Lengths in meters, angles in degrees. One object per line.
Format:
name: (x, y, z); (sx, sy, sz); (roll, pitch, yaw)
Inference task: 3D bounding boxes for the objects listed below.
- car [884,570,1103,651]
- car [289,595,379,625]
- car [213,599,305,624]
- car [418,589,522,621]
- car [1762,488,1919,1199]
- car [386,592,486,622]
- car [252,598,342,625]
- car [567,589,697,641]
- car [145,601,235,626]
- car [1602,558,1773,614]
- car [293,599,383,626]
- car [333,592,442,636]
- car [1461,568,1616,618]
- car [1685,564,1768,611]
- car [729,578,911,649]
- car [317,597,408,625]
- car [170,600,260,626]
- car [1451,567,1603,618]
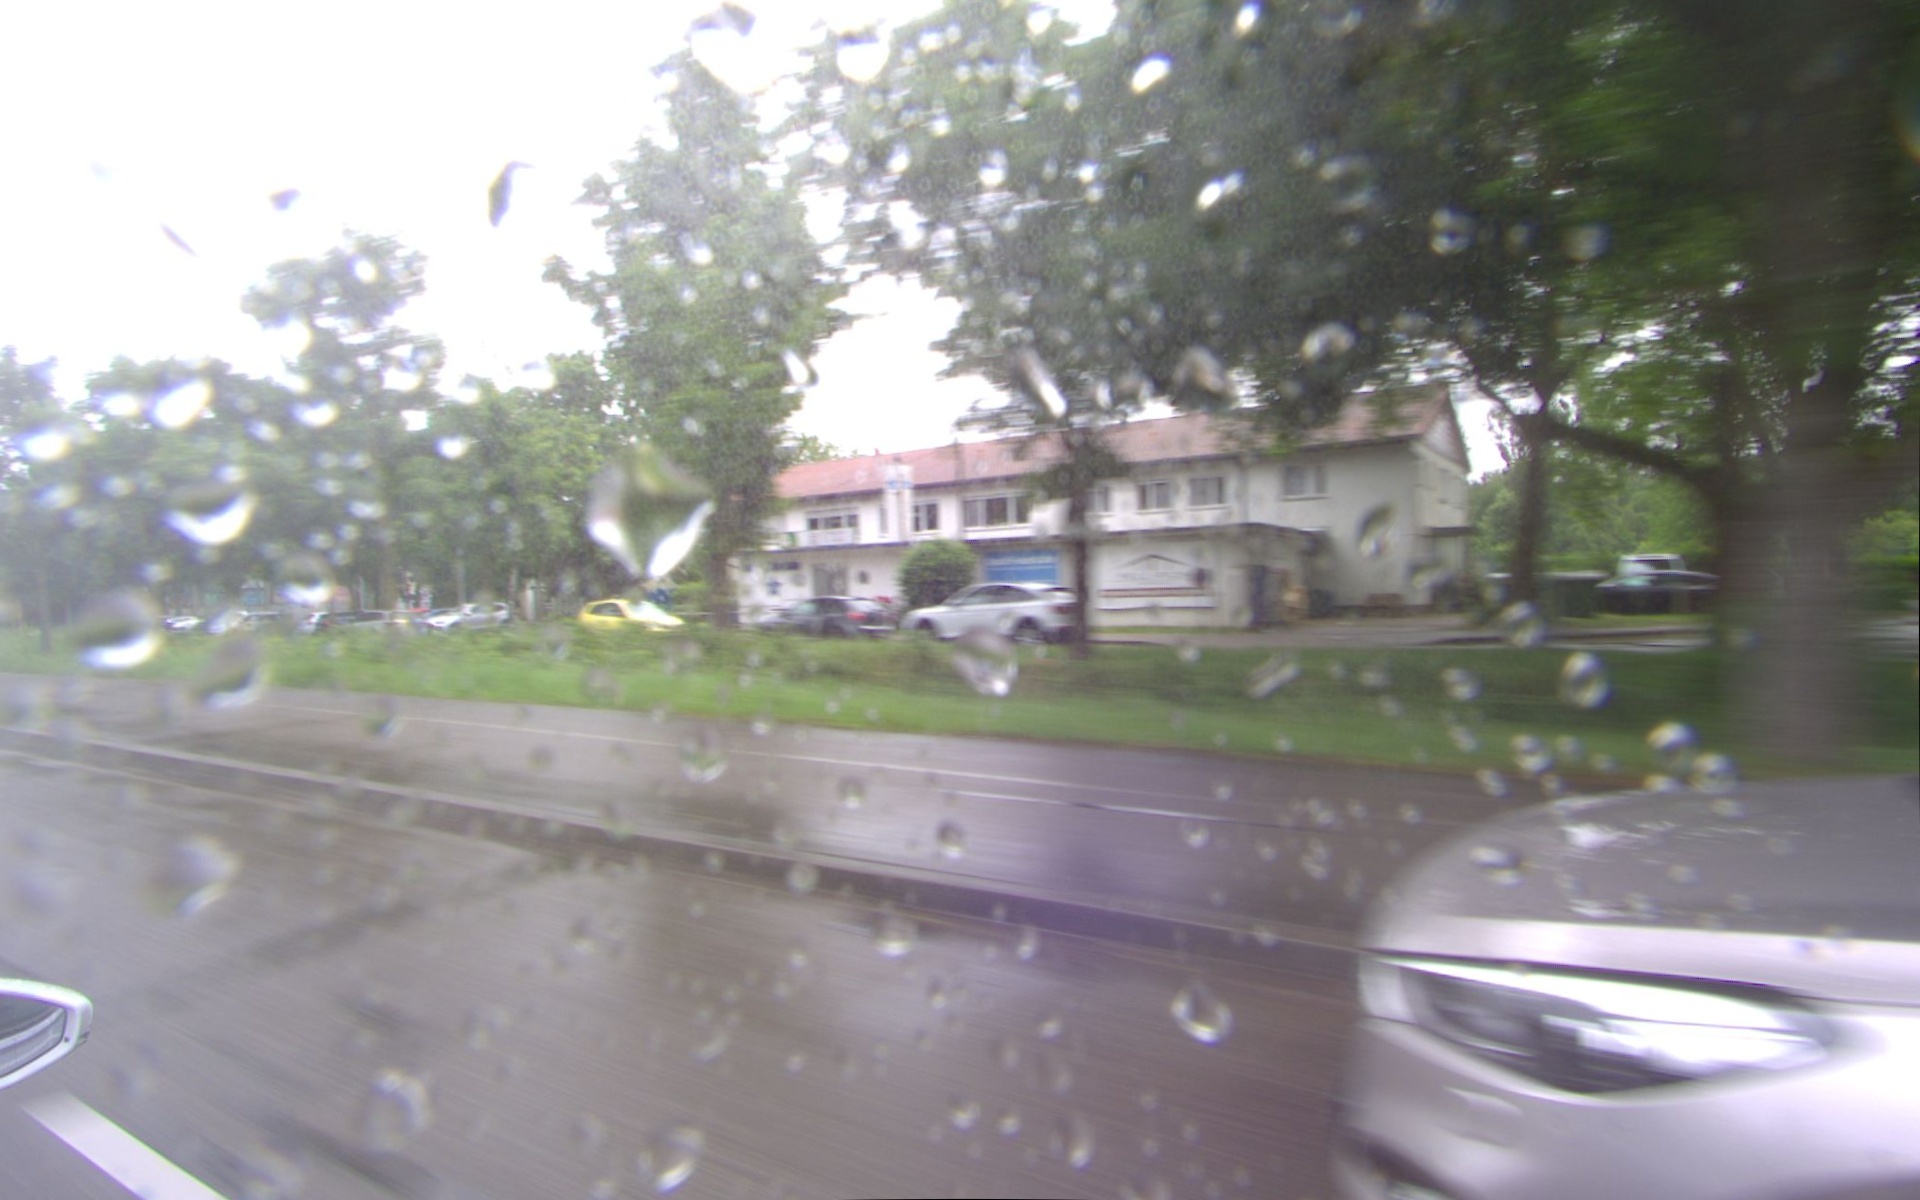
car: (0.743, 0.249, 23.586); (4.809, 1.740, 1.989); (-1, 1, 32)
car: (-38.197, 0.642, 61.211); (1.917, 1.747, 4.328); (-1, -1, 30)
car: (-45.890, 0.796, 65.625); (1.921, 1.578, 4.554); (-1, -1, 37)
car: (-24.153, 0.277, 49.535); (1.896, 1.523, 4.328); (-1, -1, 30)
car: (3.295, 0.617, 0.637); (4.137, 1.631, 1.880); (-2, 0, 33)
car: (-27.649, 0.379, 52.978); (1.917, 1.503, 4.328); (-1, -1, 30)
car: (-41.322, 0.739, 62.517); (1.917, 1.578, 4.328); (-1, -1, 30)
car: (-10.177, 0.479, 30.987); (4.015, 1.505, 1.634); (-1, -1, 32)
car: (-53.392, 0.935, 69.500); (1.969, 1.666, 4.566); (-1, -1, 28)
car: (21.816, -0.370, 30.197); (4.061, 1.519, 1.747); (-1, -1, 36)
car: (-36.342, 0.728, 58.577); (1.735, 1.503, 4.183); (-1, -1, 30)
car: (-23.061, 0.554, 40.312); (4.578, 1.647, 1.987); (-1, 1, 34)
car: (17.401, -0.166, 30.224); (3.943, 1.403, 1.580); (-1, -1, 32)
car: (26.398, -0.376, 34.610); (1.710, 1.475, 3.983); (-1, -1, 29)
car: (-3.760, 0.349, 26.645); (4.575, 1.740, 1.989); (-1, 1, 32)
car: (-33.862, 0.645, 56.829); (1.765, 1.479, 4.122); (-1, -1, 33)
car: (-50.812, 0.892, 68.402); (1.970, 1.727, 4.564); (-1, -1, 30)
car: (16.009, -0.173, 28.383); (3.648, 1.333, 1.569); (-1, -1, 31)
